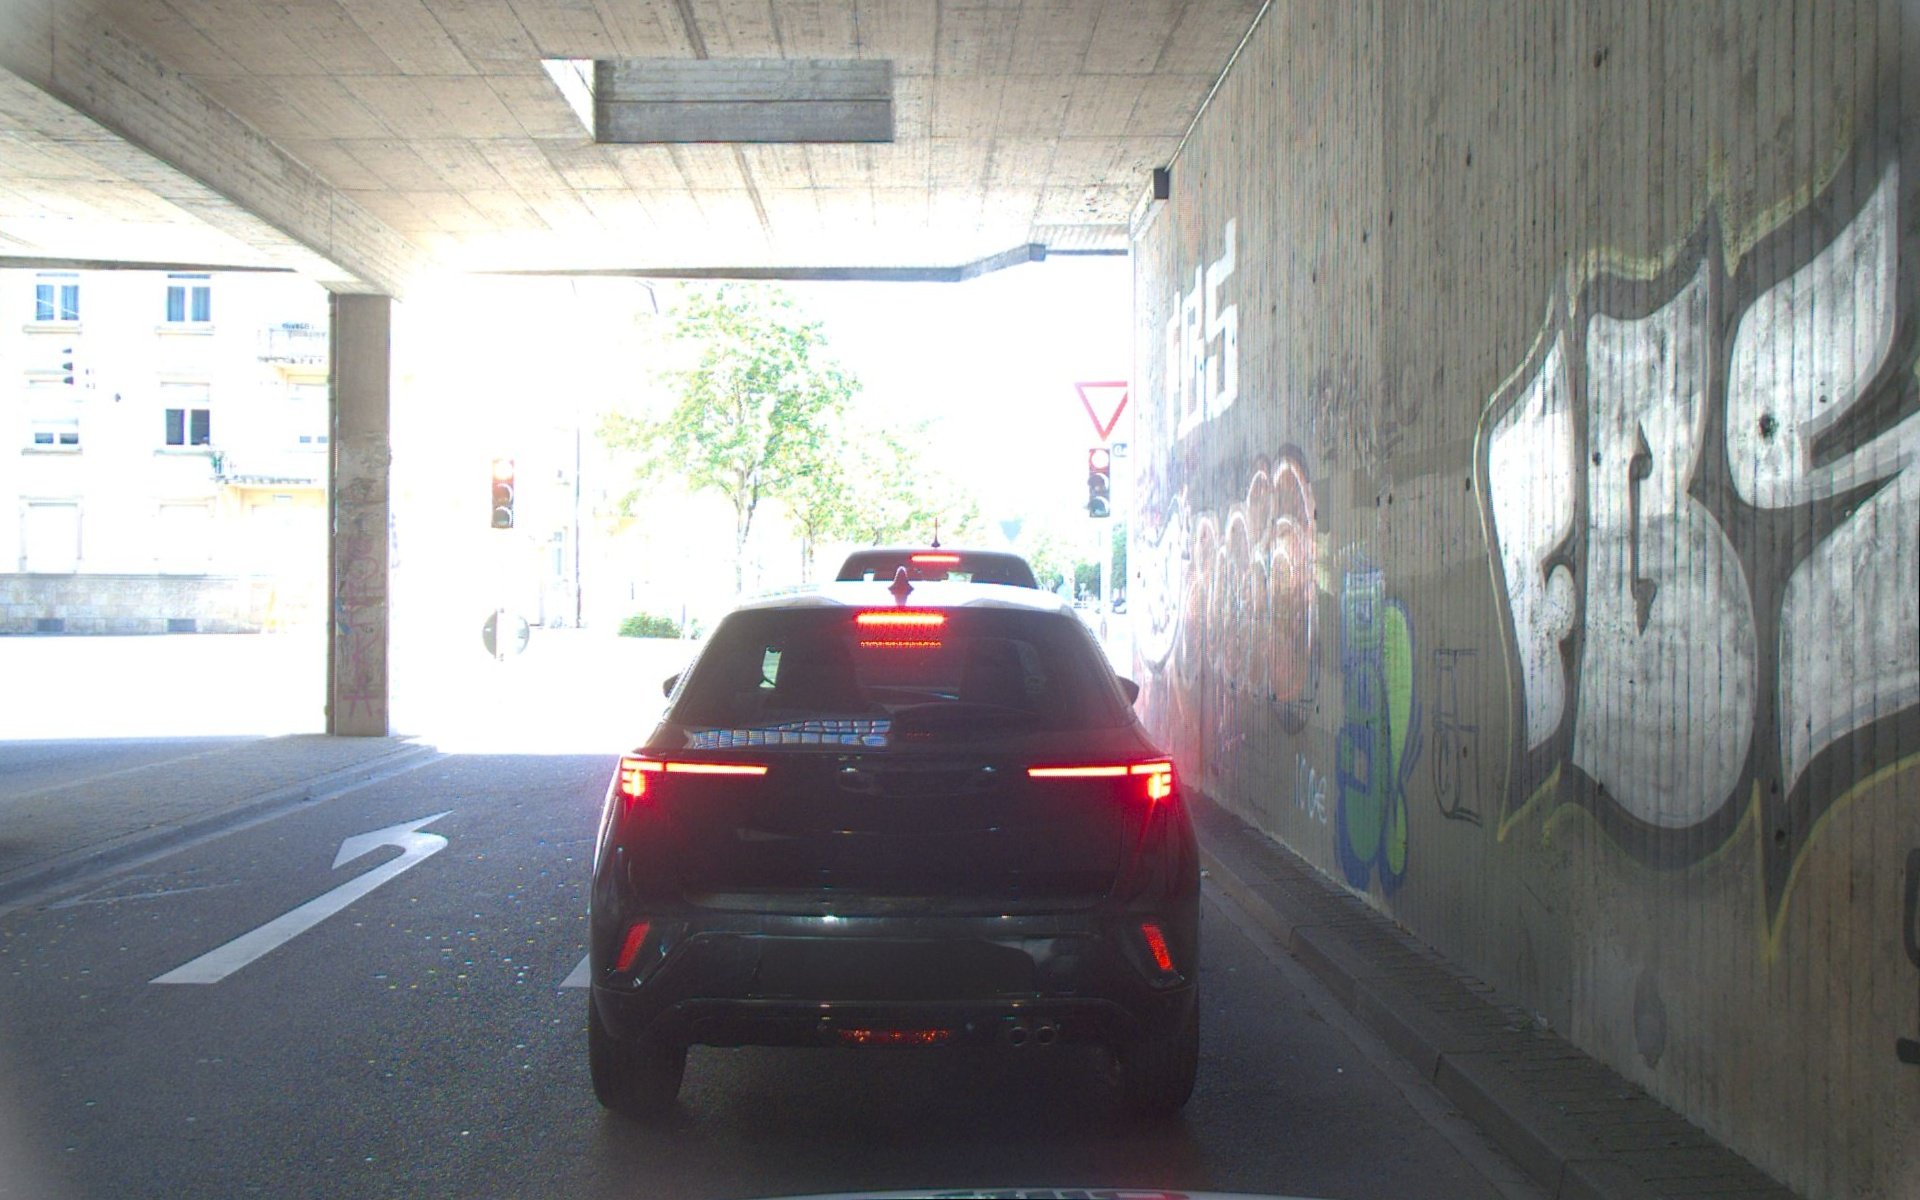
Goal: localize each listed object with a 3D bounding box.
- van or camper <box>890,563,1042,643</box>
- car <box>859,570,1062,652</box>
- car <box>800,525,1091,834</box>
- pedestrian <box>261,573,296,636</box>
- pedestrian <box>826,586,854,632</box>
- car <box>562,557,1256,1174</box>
[{"bbox_3d":[0.199,0.065,43.421,3.795,2.049,2.002,0,0,7],"label":"van or camper"},{"bbox_3d":[0.071,0.182,37.172,1.966,1.670,4.562,1,2,44],"label":"car"},{"bbox_3d":[-0.107,0.475,12.071,1.749,1.865,3.960,1,0,-1],"label":"car"},{"bbox_3d":[-19.035,0.129,46.236,0.706,1.734,0.624,1,-1,-5],"label":"pedestrian"},{"bbox_3d":[-4.291,0.325,59.115,0.720,1.612,0.891,1,-1,15],"label":"pedestrian"},{"bbox_3d":[-0.140,0.659,6.159,1.718,1.525,4.000,1,0,-1],"label":"car"}]
